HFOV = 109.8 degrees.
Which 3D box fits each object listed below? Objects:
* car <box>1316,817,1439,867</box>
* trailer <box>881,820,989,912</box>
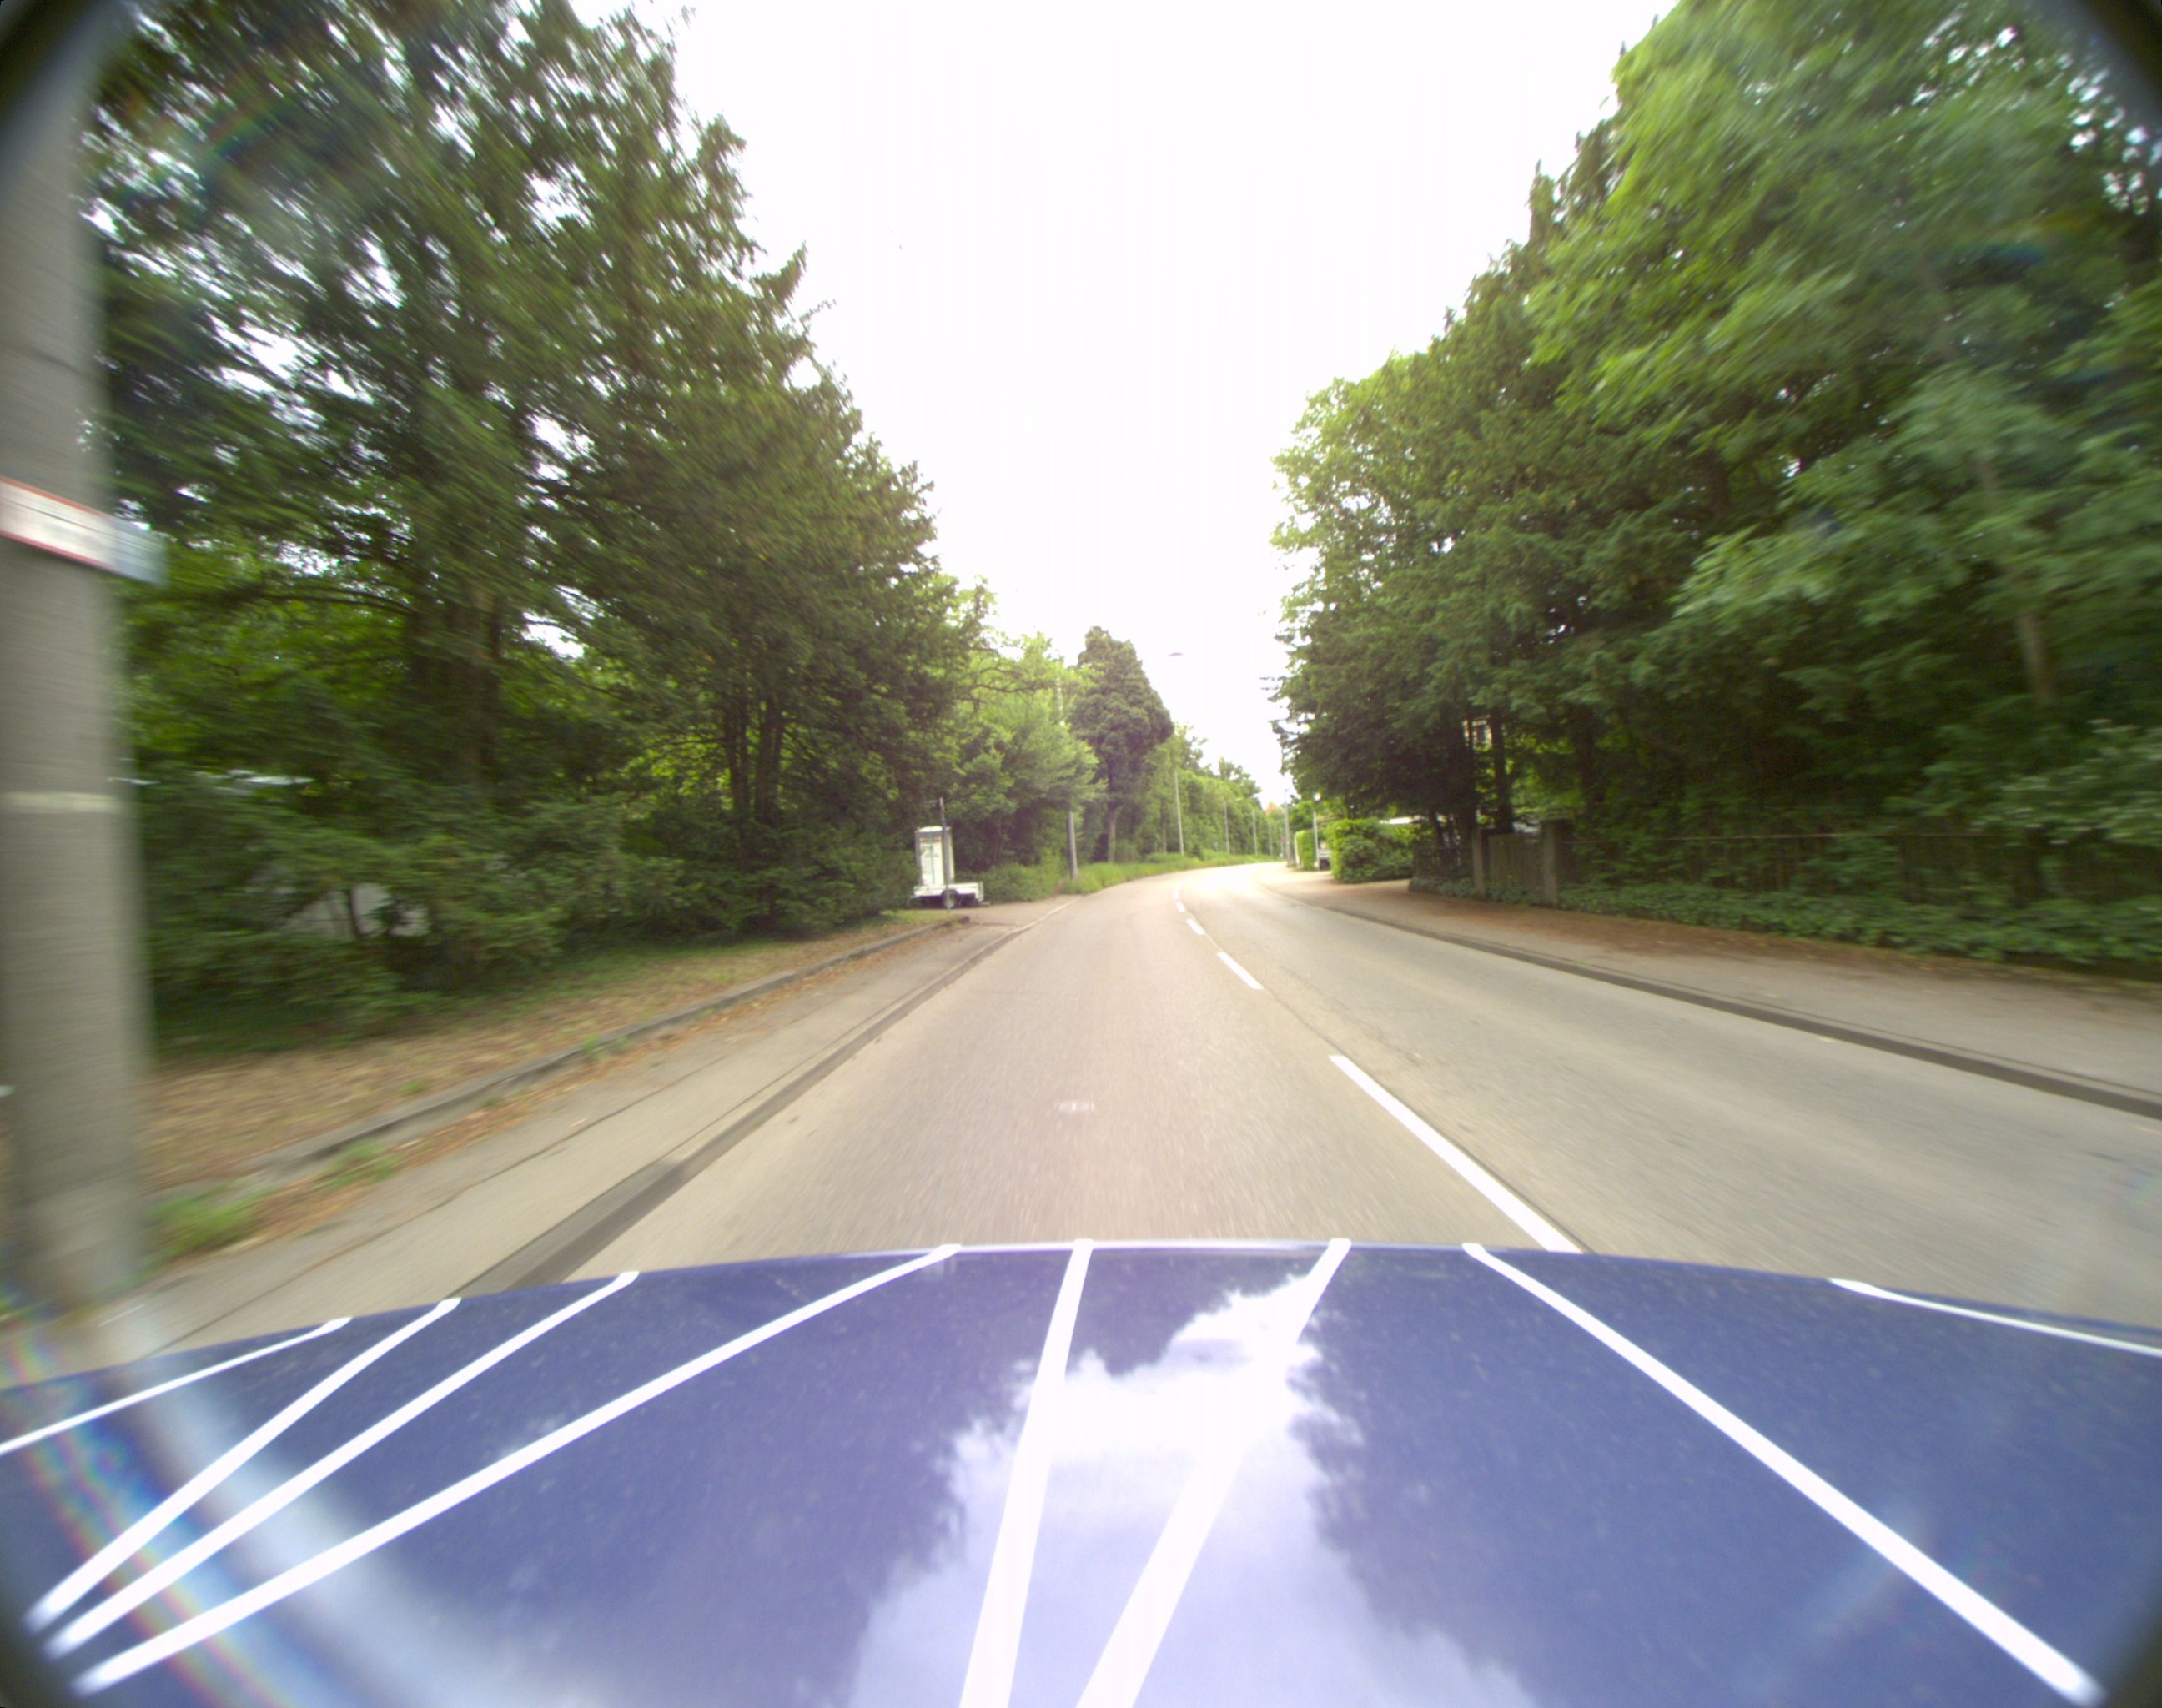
[{"bbox_3d":[14.247,-0.519,36.911,2.428,2.061,5.352,-4,0,-24],"label":"car"},{"bbox_3d":[-4.849,0.394,25.543,3.123,2.883,1.593,-2,1,4],"label":"trailer"}]
